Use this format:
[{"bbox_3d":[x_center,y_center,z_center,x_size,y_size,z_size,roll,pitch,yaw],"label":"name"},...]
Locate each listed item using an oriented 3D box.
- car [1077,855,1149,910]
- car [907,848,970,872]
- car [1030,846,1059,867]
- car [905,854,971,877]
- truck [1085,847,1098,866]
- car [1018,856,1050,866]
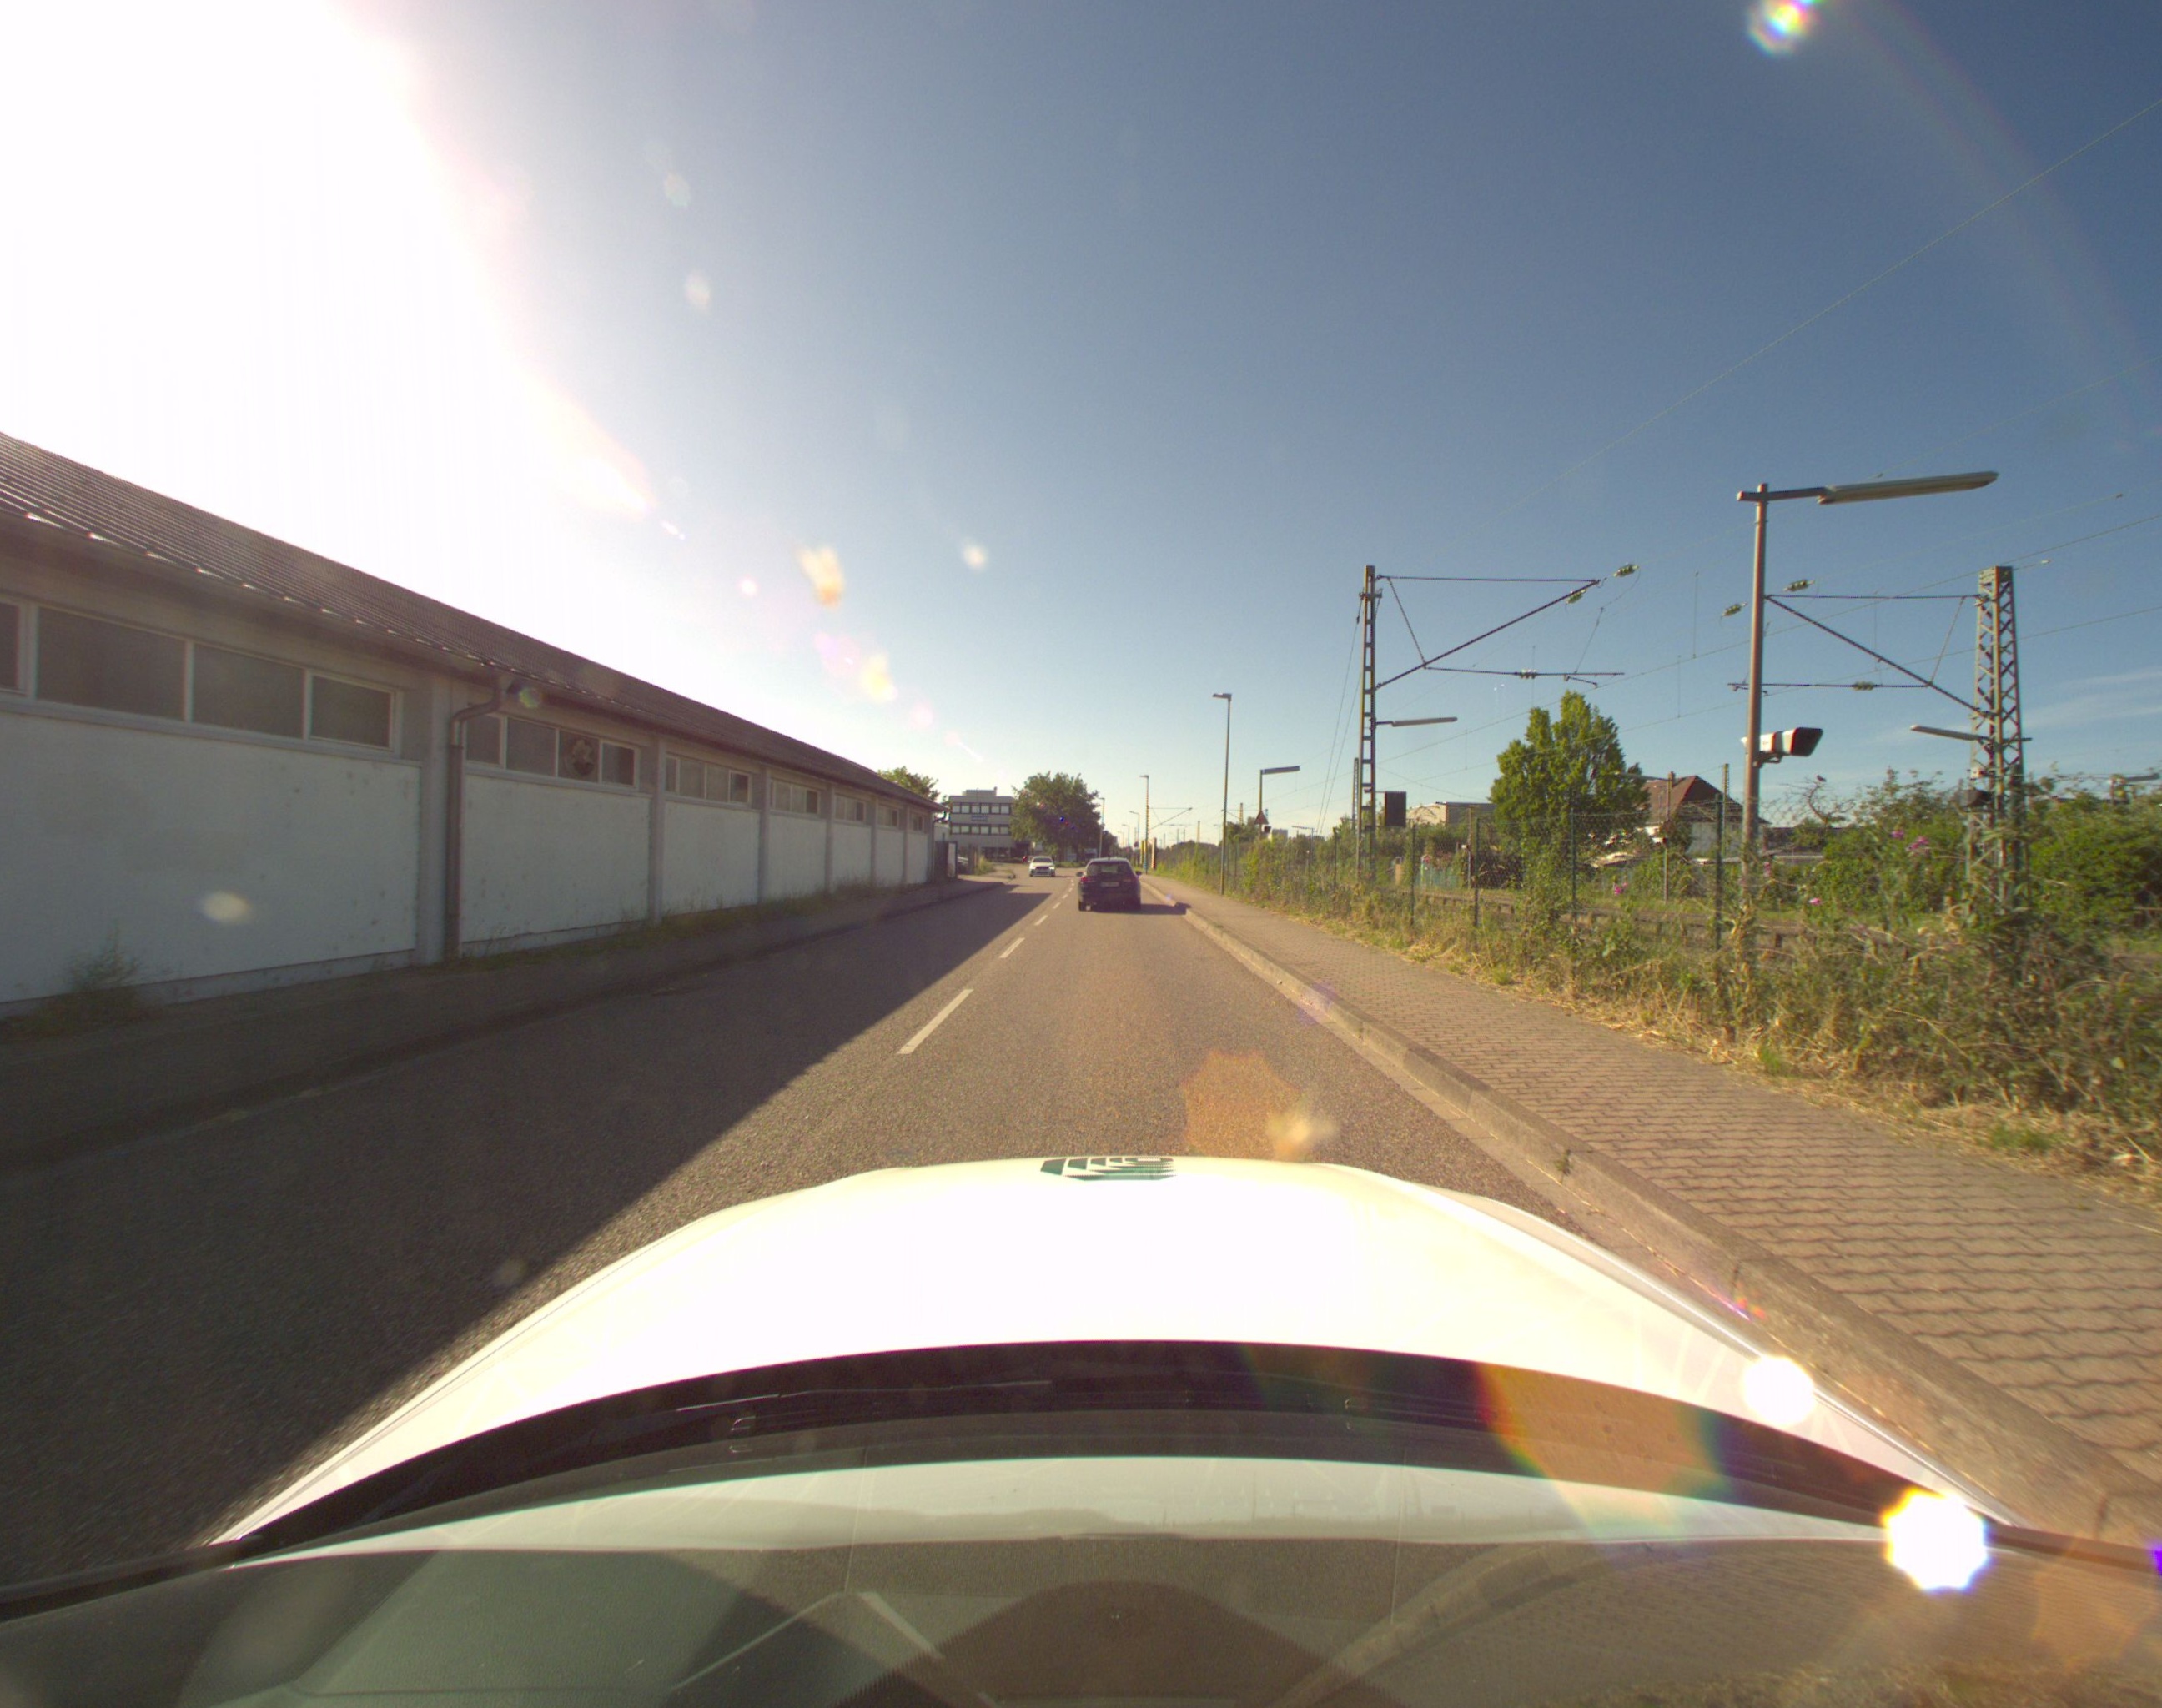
[{"bbox_3d":[0.919,0.785,24.115,1.935,1.489,4.566,0,-1,1],"label":"car"},{"bbox_3d":[-10.269,0.428,58.957,4.388,1.648,1.835,1,0,-9],"label":"car"},{"bbox_3d":[-2.669,0.209,59.938,1.802,1.478,4.688,-1,0,1],"label":"car"},{"bbox_3d":[-9.882,0.762,56.447,4.388,1.507,1.835,1,0,-9],"label":"car"},{"bbox_3d":[2.273,0.554,176.772,2.605,3.885,13.528,2,0,0],"label":"truck"},{"bbox_3d":[-7.636,1.065,132.542,4.886,1.484,2.003,1,1,6],"label":"car"}]
